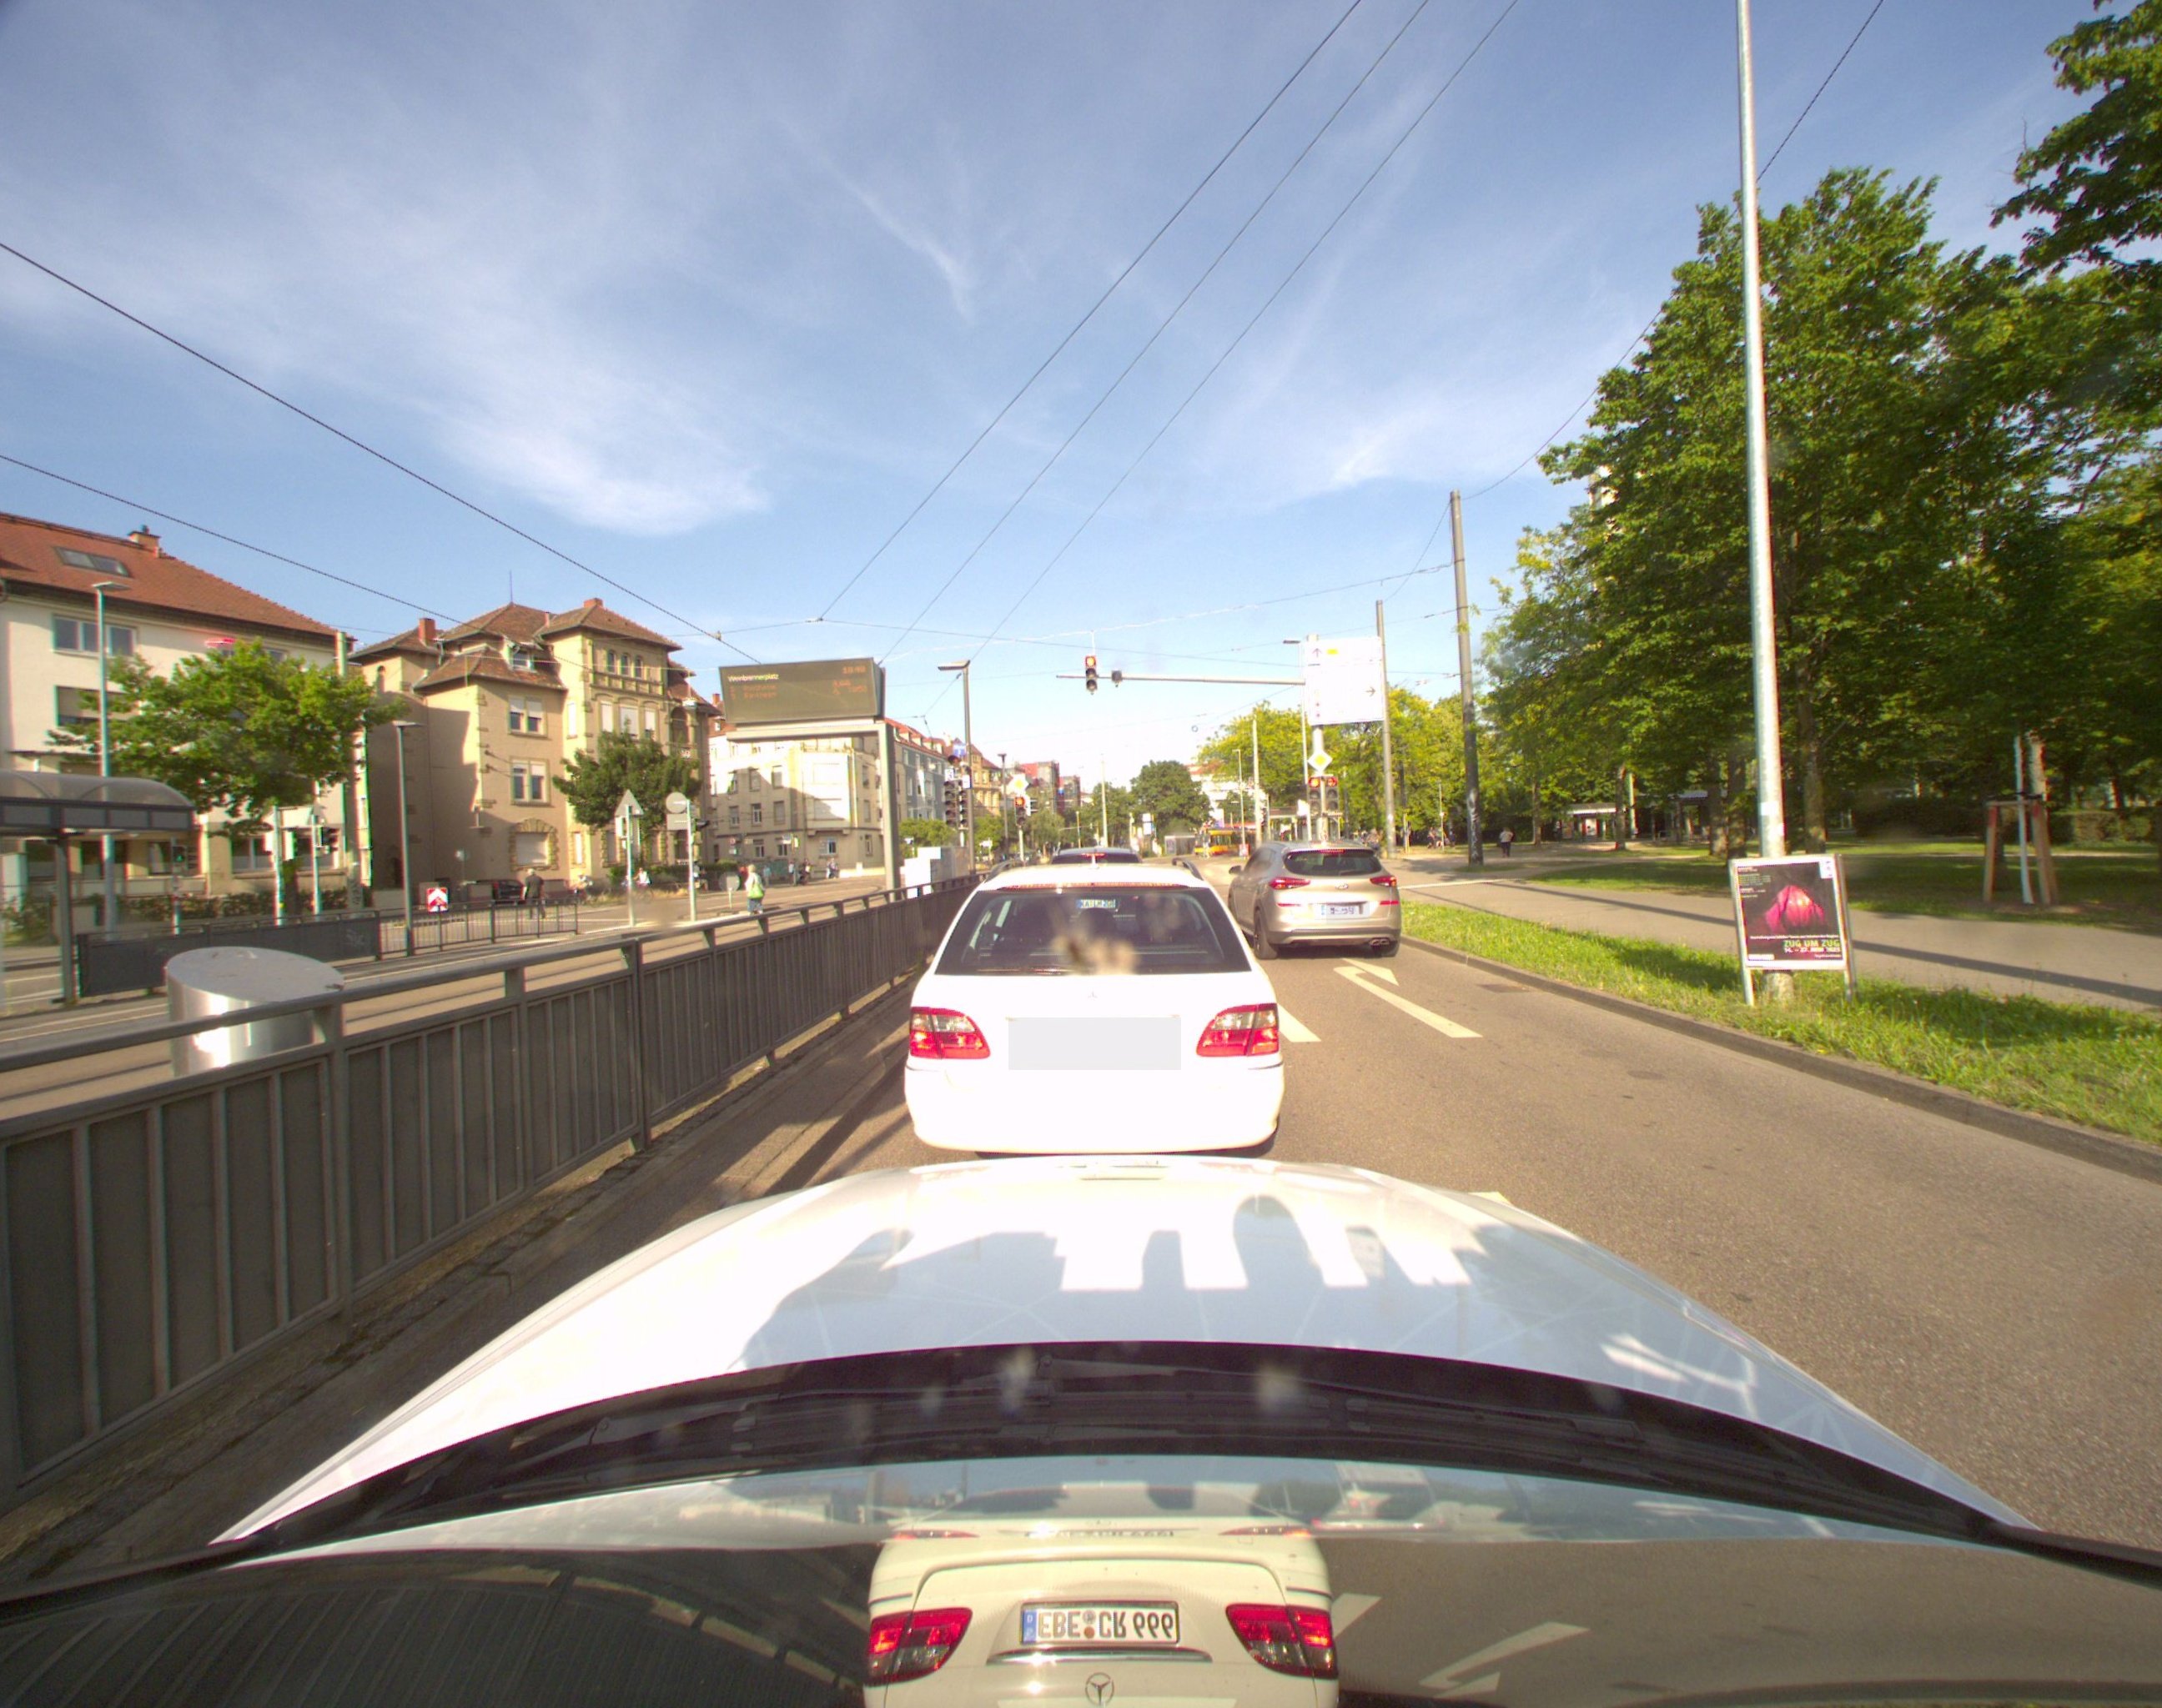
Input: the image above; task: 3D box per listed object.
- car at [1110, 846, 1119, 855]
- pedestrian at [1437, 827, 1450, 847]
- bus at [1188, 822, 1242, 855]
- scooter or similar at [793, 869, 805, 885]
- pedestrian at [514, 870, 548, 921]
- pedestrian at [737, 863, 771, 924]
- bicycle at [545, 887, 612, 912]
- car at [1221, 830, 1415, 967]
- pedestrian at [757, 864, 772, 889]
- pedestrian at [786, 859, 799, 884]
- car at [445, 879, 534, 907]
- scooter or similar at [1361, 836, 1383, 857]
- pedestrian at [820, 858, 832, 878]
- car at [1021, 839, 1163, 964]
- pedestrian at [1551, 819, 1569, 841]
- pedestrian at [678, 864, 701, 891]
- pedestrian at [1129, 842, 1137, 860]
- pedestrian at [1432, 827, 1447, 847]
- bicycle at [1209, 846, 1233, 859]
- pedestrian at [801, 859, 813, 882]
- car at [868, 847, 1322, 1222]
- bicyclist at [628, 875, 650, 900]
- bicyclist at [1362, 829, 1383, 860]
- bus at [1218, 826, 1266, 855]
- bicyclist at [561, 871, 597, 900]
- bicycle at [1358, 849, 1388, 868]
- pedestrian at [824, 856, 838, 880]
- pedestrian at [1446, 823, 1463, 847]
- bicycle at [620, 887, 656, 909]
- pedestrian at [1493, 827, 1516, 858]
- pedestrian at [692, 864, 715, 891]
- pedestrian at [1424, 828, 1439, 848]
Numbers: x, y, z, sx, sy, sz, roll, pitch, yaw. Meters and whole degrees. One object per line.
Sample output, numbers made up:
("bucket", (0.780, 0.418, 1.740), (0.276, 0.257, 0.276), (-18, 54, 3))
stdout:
("car", (7.483, -0.699, 182.716), (1.986, 2.014, 4.001), (-1, 0, 2))
("pedestrian", (27.770, -1.304, 62.375), (0.805, 1.487, 0.705), (-3, 0, 26))
("bus", (16.265, -1.767, 97.600), (3.080, 3.606, 12.446), (-1, -1, 25))
("scooter or similar", (-19.096, 1.565, 55.121), (0.541, 1.079, 0.683), (-1, -1, 1))
("pedestrian", (-18.340, 1.372, 27.155), (0.798, 1.645, 0.748), (-3, 0, -42))
("pedestrian", (-8.858, 1.057, 22.085), (0.611, 1.599, 0.632), (-3, 0, -5))
("bicycle", (-23.000, 2.055, 37.370), (0.779, 0.914, 3.006), (-3, 0, 10))
("car", (3.338, 0.566, 12.217), (1.878, 1.651, 3.649), (-3, 0, 2))
("pedestrian", (-20.770, 1.472, 53.522), (0.626, 1.541, 0.711), (-3, 0, 1))
("pedestrian", (-19.309, 1.145, 54.449), (0.505, 1.626, 0.610), (-3, 0, 8))
("car", (-29.452, 1.910, 40.564), (4.066, 1.310, 1.774), (-1, -1, 24))
("scooter or similar", (16.197, -0.389, 45.359), (0.421, 1.117, 1.322), (-3, 0, -18))
("pedestrian", (-21.931, 1.201, 70.015), (0.615, 1.660, 0.589), (-3, 0, 17))
("car", (0.208, 0.623, 12.663), (1.878, 1.651, 3.649), (0, 0, 2))
("pedestrian", (36.797, -1.819, 62.571), (0.831, 1.636, 0.804), (-3, 0, 8))
("pedestrian", (-22.763, 1.364, 47.405), (0.822, 1.552, 0.786), (-3, 0, 23))
("pedestrian", (5.618, -0.299, 87.489), (0.638, 1.857, 0.554), (-3, 0, 13))
("pedestrian", (28.106, -1.324, 63.880), (0.813, 1.487, 0.698), (-3, 0, -9))
("bicycle", (14.552, -0.199, 84.636), (2.467, 1.213, 0.809), (-3, 0, 9))
("pedestrian", (-18.396, 1.134, 54.654), (0.434, 1.500, 0.551), (-3, 0, 16))
("car", (0.105, 0.720, 5.090), (1.789, 1.470, 3.649), (-1, 0, 1))
("bicyclist", (-19.093, 1.436, 35.214), (0.510, 1.044, 0.680), (-3, 0, 3))
("bicyclist", (12.300, -0.409, 34.397), (0.532, 1.262, 0.869), (-3, 0, 2))
("bus", (21.673, -1.755, 108.889), (3.080, 3.606, 12.665), (-1, -1, 26))
("bicyclist", (-23.021, 1.424, 37.364), (0.758, 1.262, 1.178), (-3, 0, 10))
("bicycle", (12.343, 0.177, 34.496), (0.493, 0.757, 2.169), (-4, 0, 2))
("pedestrian", (-21.805, 1.184, 70.919), (0.768, 2.013, 0.790), (-3, 0, 17))
("pedestrian", (29.121, -1.478, 63.500), (0.797, 1.785, 0.838), (-3, 0, -2))
("bicycle", (-19.084, 1.894, 35.094), (0.524, 0.834, 1.688), (-3, 0, 3))
("pedestrian", (22.879, -0.605, 43.990), (0.758, 1.636, 0.800), (-3, 0, -38))
("pedestrian", (-21.849, 1.358, 47.161), (0.822, 1.552, 0.786), (-3, 0, 23))
("pedestrian", (27.258, -1.242, 63.291), (0.820, 1.487, 0.692), (-3, 0, -40))
